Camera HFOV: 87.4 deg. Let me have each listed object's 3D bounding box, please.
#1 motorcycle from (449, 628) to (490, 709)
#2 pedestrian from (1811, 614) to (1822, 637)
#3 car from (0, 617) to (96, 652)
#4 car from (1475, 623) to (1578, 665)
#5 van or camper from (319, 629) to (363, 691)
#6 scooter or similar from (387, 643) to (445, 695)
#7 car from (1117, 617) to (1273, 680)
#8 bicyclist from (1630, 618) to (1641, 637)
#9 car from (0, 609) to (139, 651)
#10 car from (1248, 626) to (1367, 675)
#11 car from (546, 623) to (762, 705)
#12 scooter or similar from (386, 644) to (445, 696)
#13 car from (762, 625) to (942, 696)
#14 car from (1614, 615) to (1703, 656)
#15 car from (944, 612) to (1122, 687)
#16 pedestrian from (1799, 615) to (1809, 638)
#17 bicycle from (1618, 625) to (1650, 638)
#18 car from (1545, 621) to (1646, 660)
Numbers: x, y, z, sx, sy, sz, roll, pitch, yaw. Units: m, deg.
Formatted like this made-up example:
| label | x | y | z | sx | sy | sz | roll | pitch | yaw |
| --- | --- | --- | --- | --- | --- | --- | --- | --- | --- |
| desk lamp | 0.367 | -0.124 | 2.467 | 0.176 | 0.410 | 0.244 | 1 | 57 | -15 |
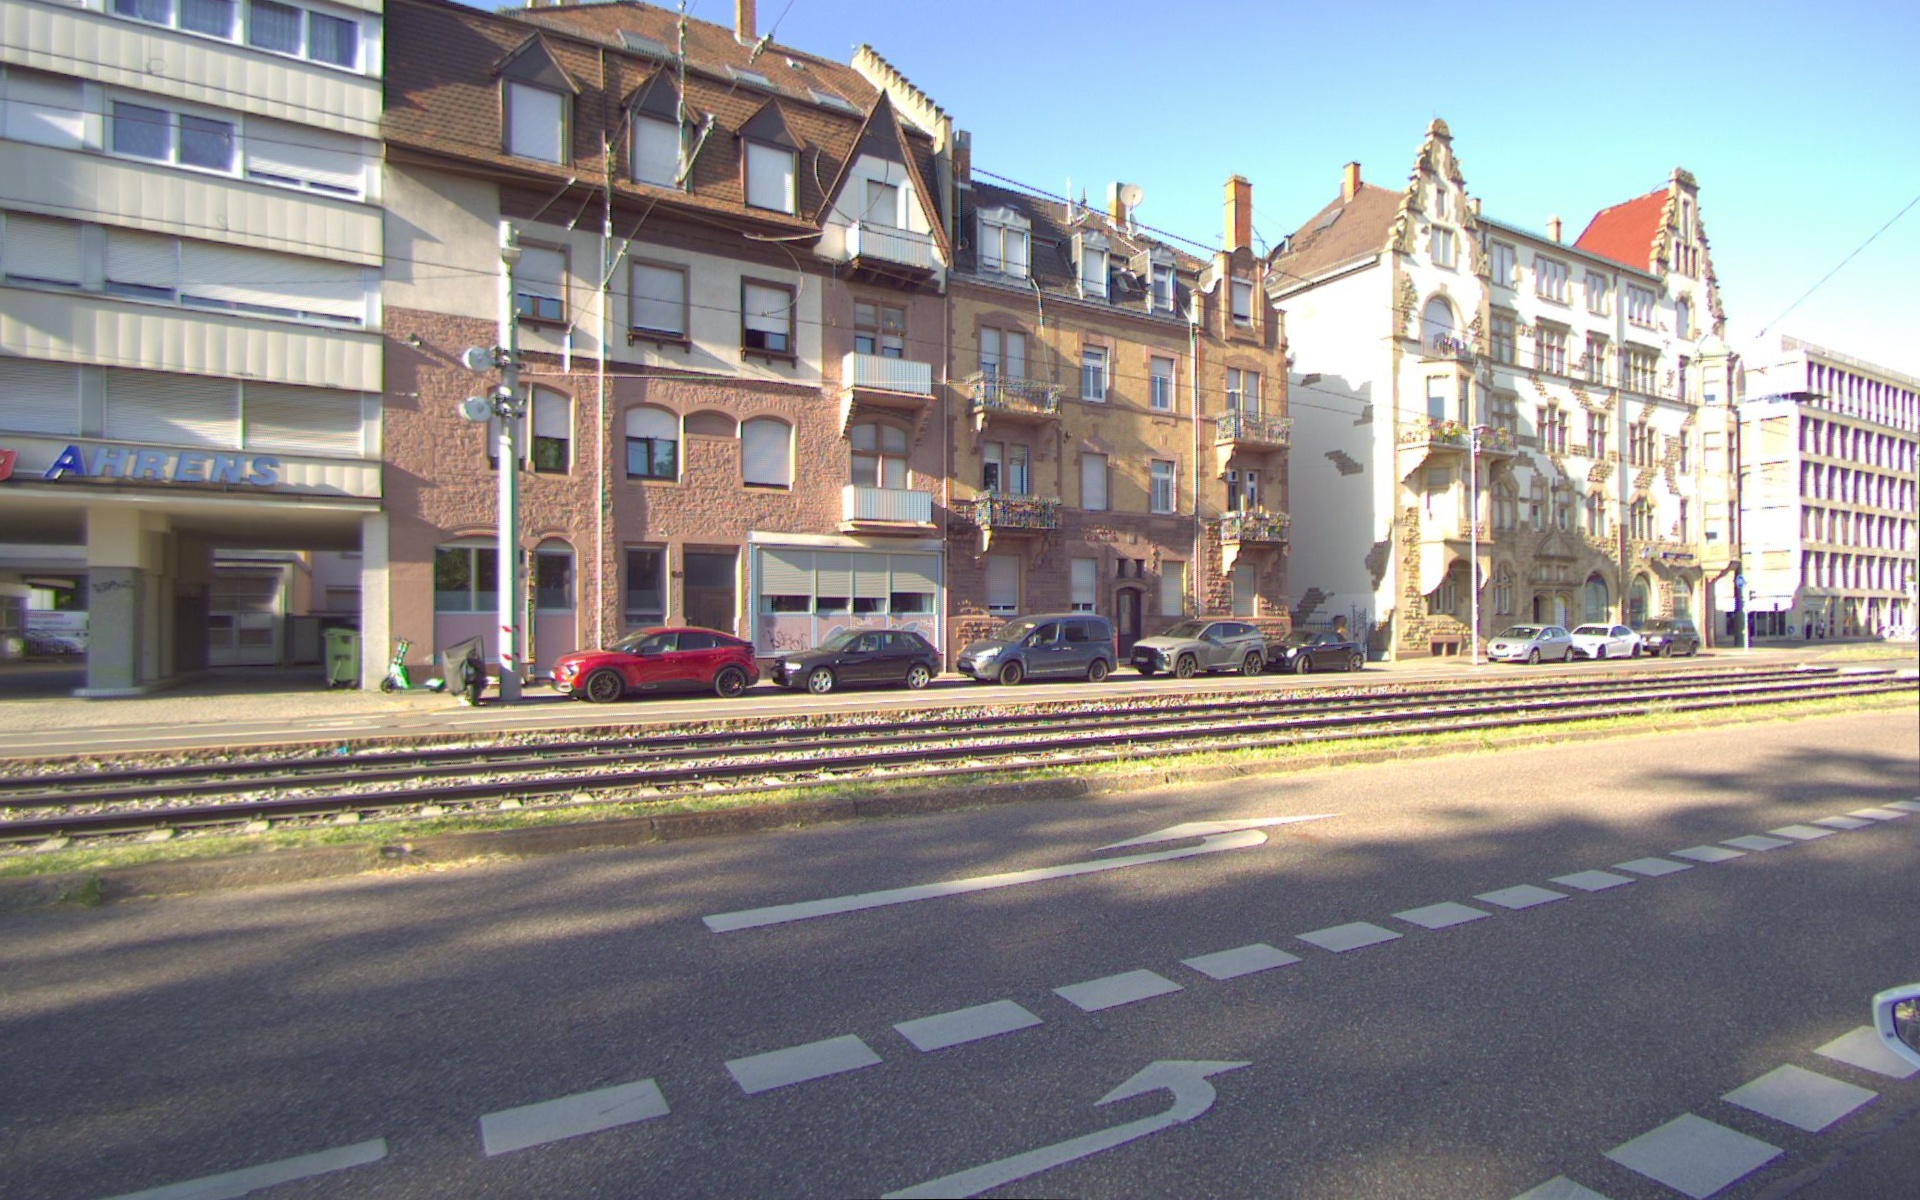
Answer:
| label | x | y | z | sx | sy | sz | roll | pitch | yaw |
| --- | --- | --- | --- | --- | --- | --- | --- | --- | --- |
| motorcycle | -9.752 | 1.319 | 19.933 | 0.621 | 1.441 | 1.846 | -1 | 1 | -29 |
| pedestrian | 68.726 | 2.049 | 80.624 | 0.522 | 1.868 | 0.443 | -1 | -1 | 22 |
| car | -50.401 | 1.885 | 55.245 | 4.076 | 1.835 | 1.879 | 1 | -2 | -31 |
| car | 21.682 | 1.651 | 38.415 | 4.178 | 1.450 | 1.699 | 0 | 1 | -33 |
| van or camper | -14.134 | 1.346 | 22.966 | 0.794 | 1.375 | 1.418 | 0 | -2 | -30 |
| scooter or similar | -11.983 | 1.513 | 22.130 | 1.108 | 1.083 | 0.203 | 0 | 0 | -30 |
| car | 6.938 | 1.368 | 29.534 | 4.452 | 1.645 | 1.846 | 0 | 2 | -32 |
| bicyclist | 61.888 | 2.529 | 92.032 | 0.570 | 1.708 | 0.638 | 0 | -2 | -30 |
| car | -51.797 | 1.712 | 57.991 | 6.525 | 2.288 | 2.343 | 1 | -2 | -32 |
| car | 11.082 | 1.561 | 31.978 | 3.684 | 1.373 | 1.614 | 0 | 2 | -32 |
| car | -6.591 | 1.303 | 21.716 | 4.163 | 1.519 | 1.846 | 0 | 2 | -32 |
| scooter or similar | -11.867 | 1.515 | 21.902 | 1.108 | 1.083 | 0.203 | 0 | 0 | -30 |
| car | -2.535 | 1.375 | 23.812 | 3.883 | 1.457 | 1.686 | 0 | 2 | -32 |
| car | 30.820 | 1.518 | 44.304 | 4.170 | 1.698 | 1.707 | 0 | 1 | -32 |
| car | 1.938 | 1.240 | 26.529 | 4.362 | 1.782 | 1.878 | 0 | 2 | -28 |
| pedestrian | 68.141 | 2.146 | 81.143 | 0.464 | 1.868 | 0.443 | -1 | -1 | 22 |
| bicycle | 61.818 | 2.907 | 92.131 | 0.570 | 1.231 | 2.370 | 0 | -2 | -30 |
| car | 26.272 | 1.648 | 41.478 | 4.604 | 1.442 | 1.707 | 0 | 1 | -32 |
